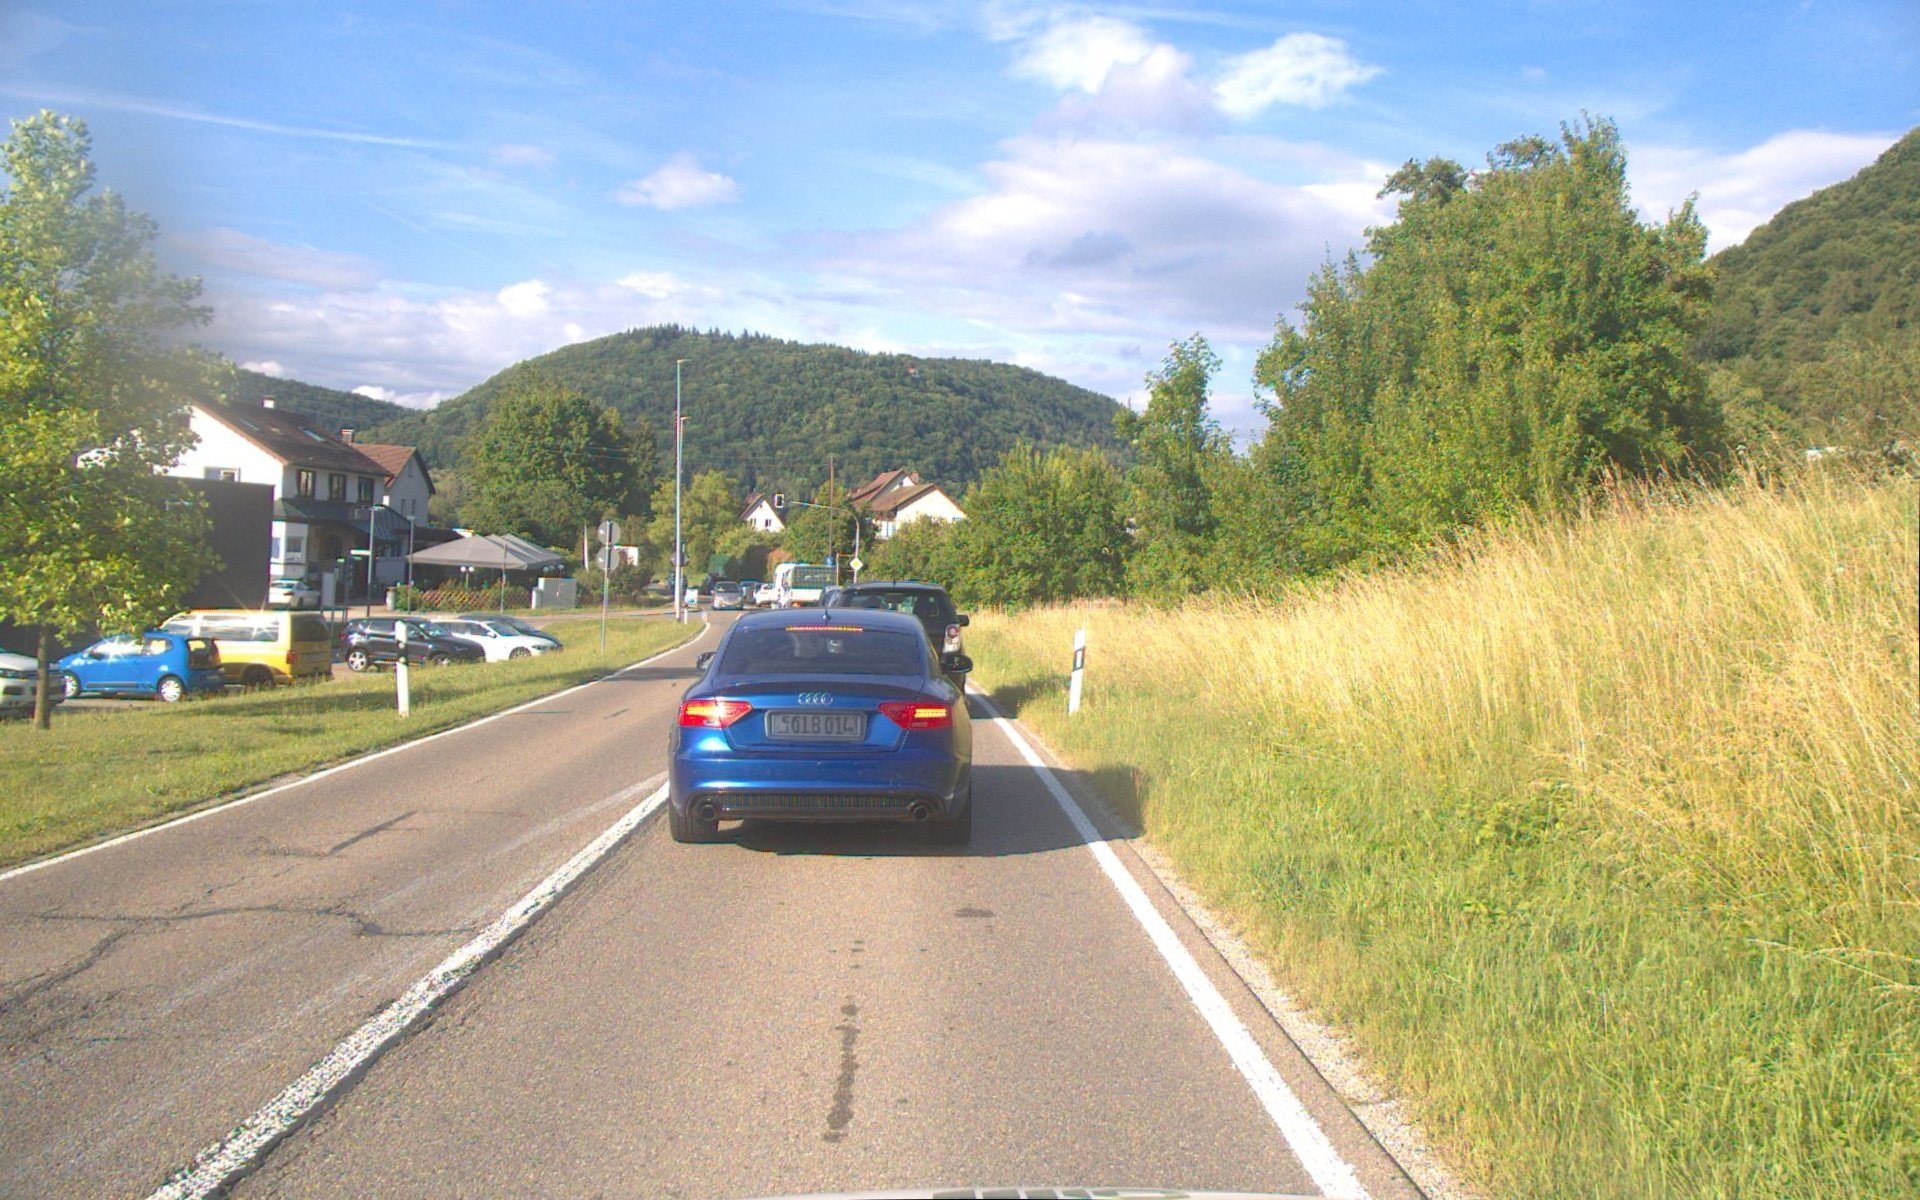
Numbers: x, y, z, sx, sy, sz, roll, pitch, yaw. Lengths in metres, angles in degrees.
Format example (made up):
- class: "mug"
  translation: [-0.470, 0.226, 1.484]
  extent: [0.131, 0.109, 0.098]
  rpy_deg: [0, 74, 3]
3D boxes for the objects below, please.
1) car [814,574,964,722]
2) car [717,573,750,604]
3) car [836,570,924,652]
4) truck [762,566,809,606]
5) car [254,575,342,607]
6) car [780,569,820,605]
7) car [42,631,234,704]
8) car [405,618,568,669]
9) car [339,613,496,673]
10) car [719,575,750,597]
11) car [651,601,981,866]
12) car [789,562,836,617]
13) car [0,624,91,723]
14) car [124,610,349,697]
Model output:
- class: "car"
  translation: [-0.818, 0.564, 21.081]
  extent: [1.710, 1.668, 4.000]
  rpy_deg: [1, 0, 0]
- class: "car"
  translation: [-12.714, -0.642, 92.586]
  extent: [1.703, 1.691, 3.463]
  rpy_deg: [1, 0, -9]
- class: "car"
  translation: [-1.709, 0.243, 36.650]
  extent: [1.768, 1.668, 4.462]
  rpy_deg: [1, 0, -1]
- class: "truck"
  translation: [-9.082, -0.703, 85.718]
  extent: [1.668, 1.988, 5.901]
  rpy_deg: [1, 0, -13]
- class: "car"
  translation: [-31.860, -0.404, 79.735]
  extent: [1.727, 1.467, 4.001]
  rpy_deg: [1, 0, 20]
- class: "car"
  translation: [-7.836, -0.614, 80.626]
  extent: [1.713, 1.668, 3.992]
  rpy_deg: [1, 0, -8]
- class: "car"
  translation: [-18.174, 1.472, 36.649]
  extent: [3.419, 1.498, 1.634]
  rpy_deg: [1, 0, 5]
- class: "car"
  translation: [-15.339, 1.403, 53.702]
  extent: [4.711, 1.520, 1.882]
  rpy_deg: [1, 0, 7]
- class: "car"
  translation: [-16.118, 1.263, 49.245]
  extent: [3.939, 1.666, 2.001]
  rpy_deg: [1, 0, 7]
- class: "car"
  translation: [-16.349, -0.999, 120.002]
  extent: [1.671, 1.516, 3.510]
  rpy_deg: [1, 0, -17]
- class: "car"
  translation: [-0.768, 0.724, 10.850]
  extent: [1.758, 1.412, 4.000]
  rpy_deg: [0, 0, 0]
- class: "car"
  translation: [-6.216, -0.418, 69.411]
  extent: [1.713, 2.234, 3.992]
  rpy_deg: [1, 0, -8]
- class: "car"
  translation: [-18.992, 1.314, 30.975]
  extent: [4.442, 1.733, 2.001]
  rpy_deg: [1, 0, 7]
- class: "car"
  translation: [-17.133, 1.230, 39.244]
  extent: [4.512, 1.900, 2.002]
  rpy_deg: [1, 0, 11]
